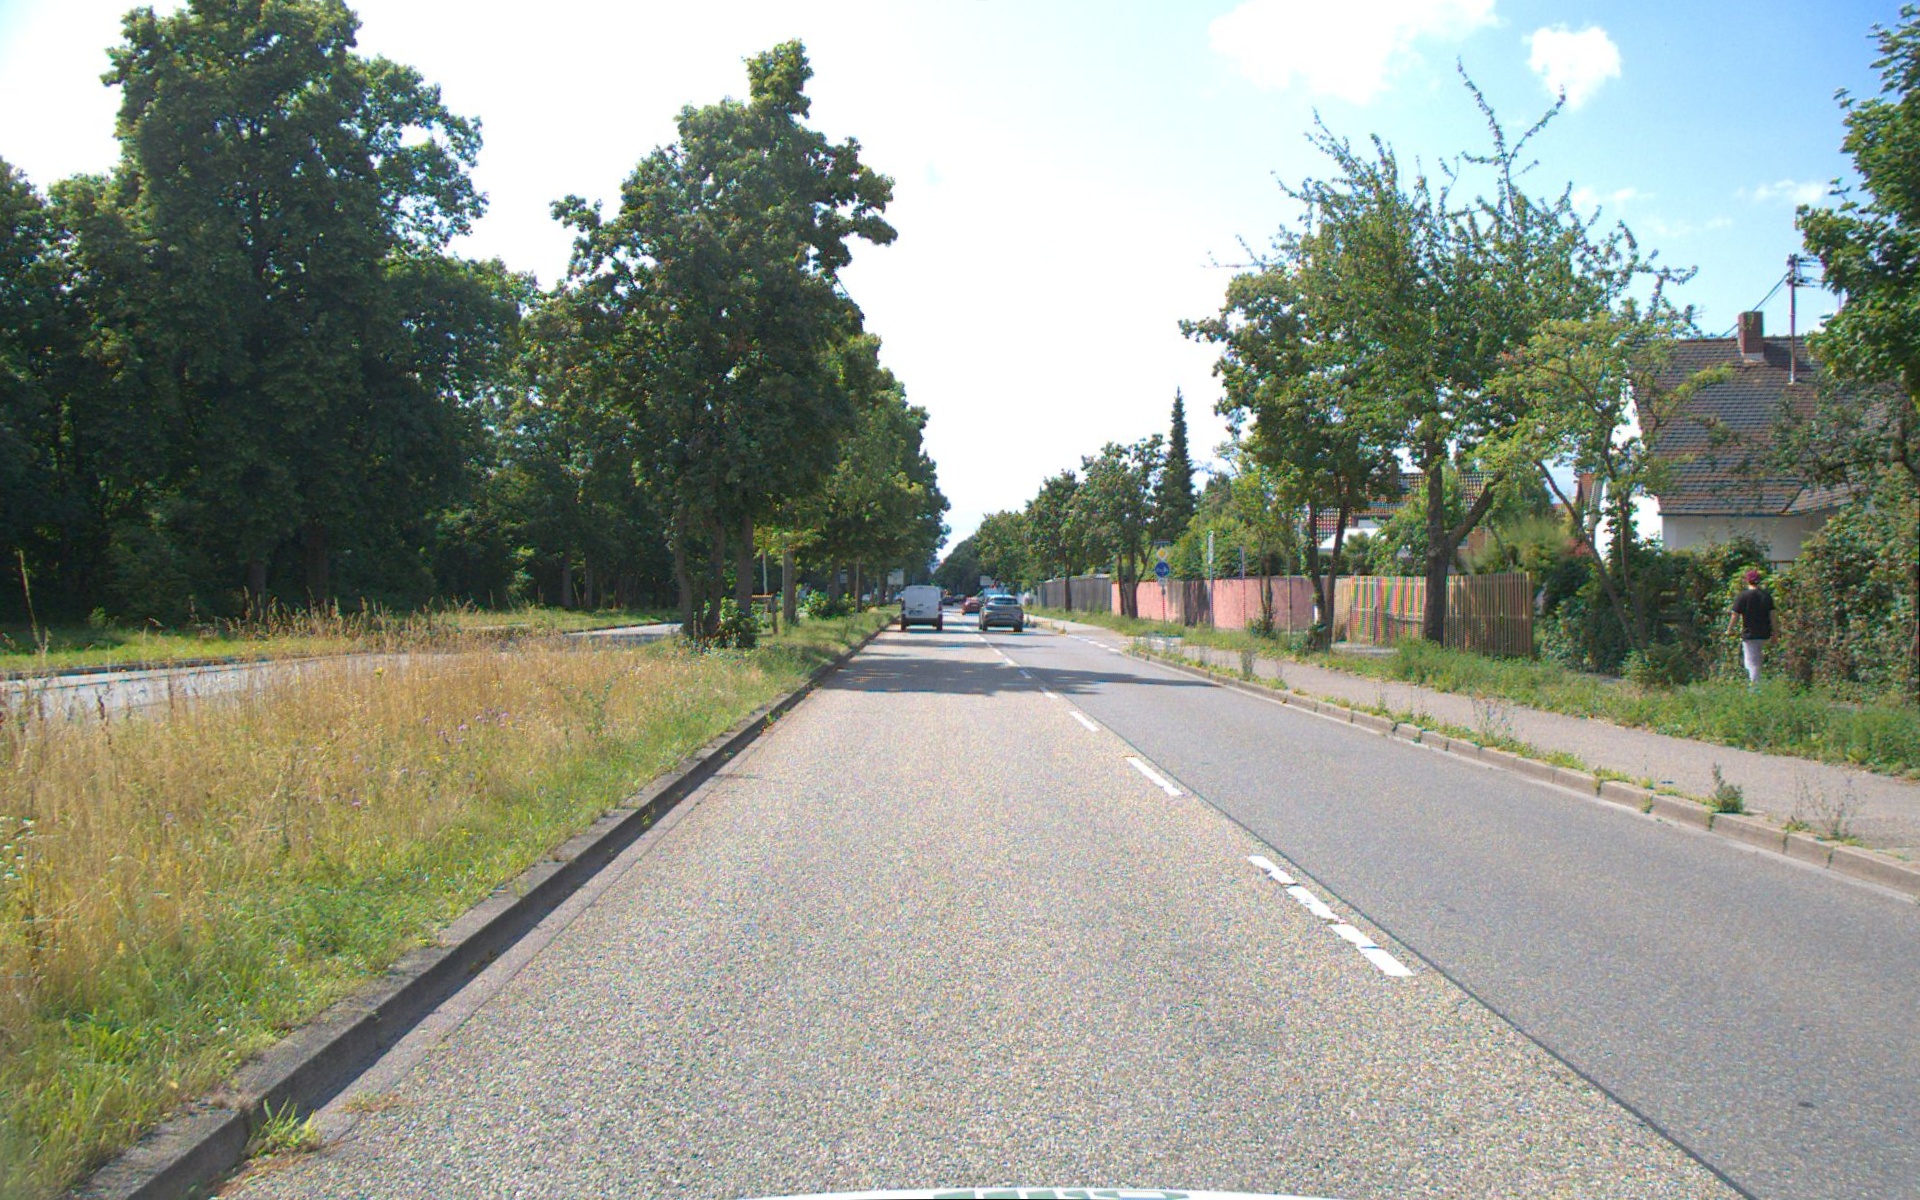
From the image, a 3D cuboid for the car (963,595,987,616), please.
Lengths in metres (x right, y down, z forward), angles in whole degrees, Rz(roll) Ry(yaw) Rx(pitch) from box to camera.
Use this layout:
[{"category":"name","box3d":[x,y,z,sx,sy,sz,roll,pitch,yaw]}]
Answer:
[{"category":"car","box3d":[1.214,0.408,134.037,1.842,1.615,3.999,1,0,-1]}]

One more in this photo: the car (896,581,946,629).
[{"category":"car","box3d":[-1.636,0.178,70.148,2.024,1.945,4.645,1,0,-1]}]

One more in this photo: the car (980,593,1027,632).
[{"category":"car","box3d":[1.840,0.512,71.088,1.837,1.617,4.184,0,0,-1]}]

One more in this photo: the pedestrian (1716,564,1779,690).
[{"category":"pedestrian","box3d":[10.874,0.369,22.842,0.548,1.706,0.634,1,0,-2]}]

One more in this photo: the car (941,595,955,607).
[{"category":"car","box3d":[-1.811,0.169,251.579,1.953,1.803,4.146,2,0,-1]}]
